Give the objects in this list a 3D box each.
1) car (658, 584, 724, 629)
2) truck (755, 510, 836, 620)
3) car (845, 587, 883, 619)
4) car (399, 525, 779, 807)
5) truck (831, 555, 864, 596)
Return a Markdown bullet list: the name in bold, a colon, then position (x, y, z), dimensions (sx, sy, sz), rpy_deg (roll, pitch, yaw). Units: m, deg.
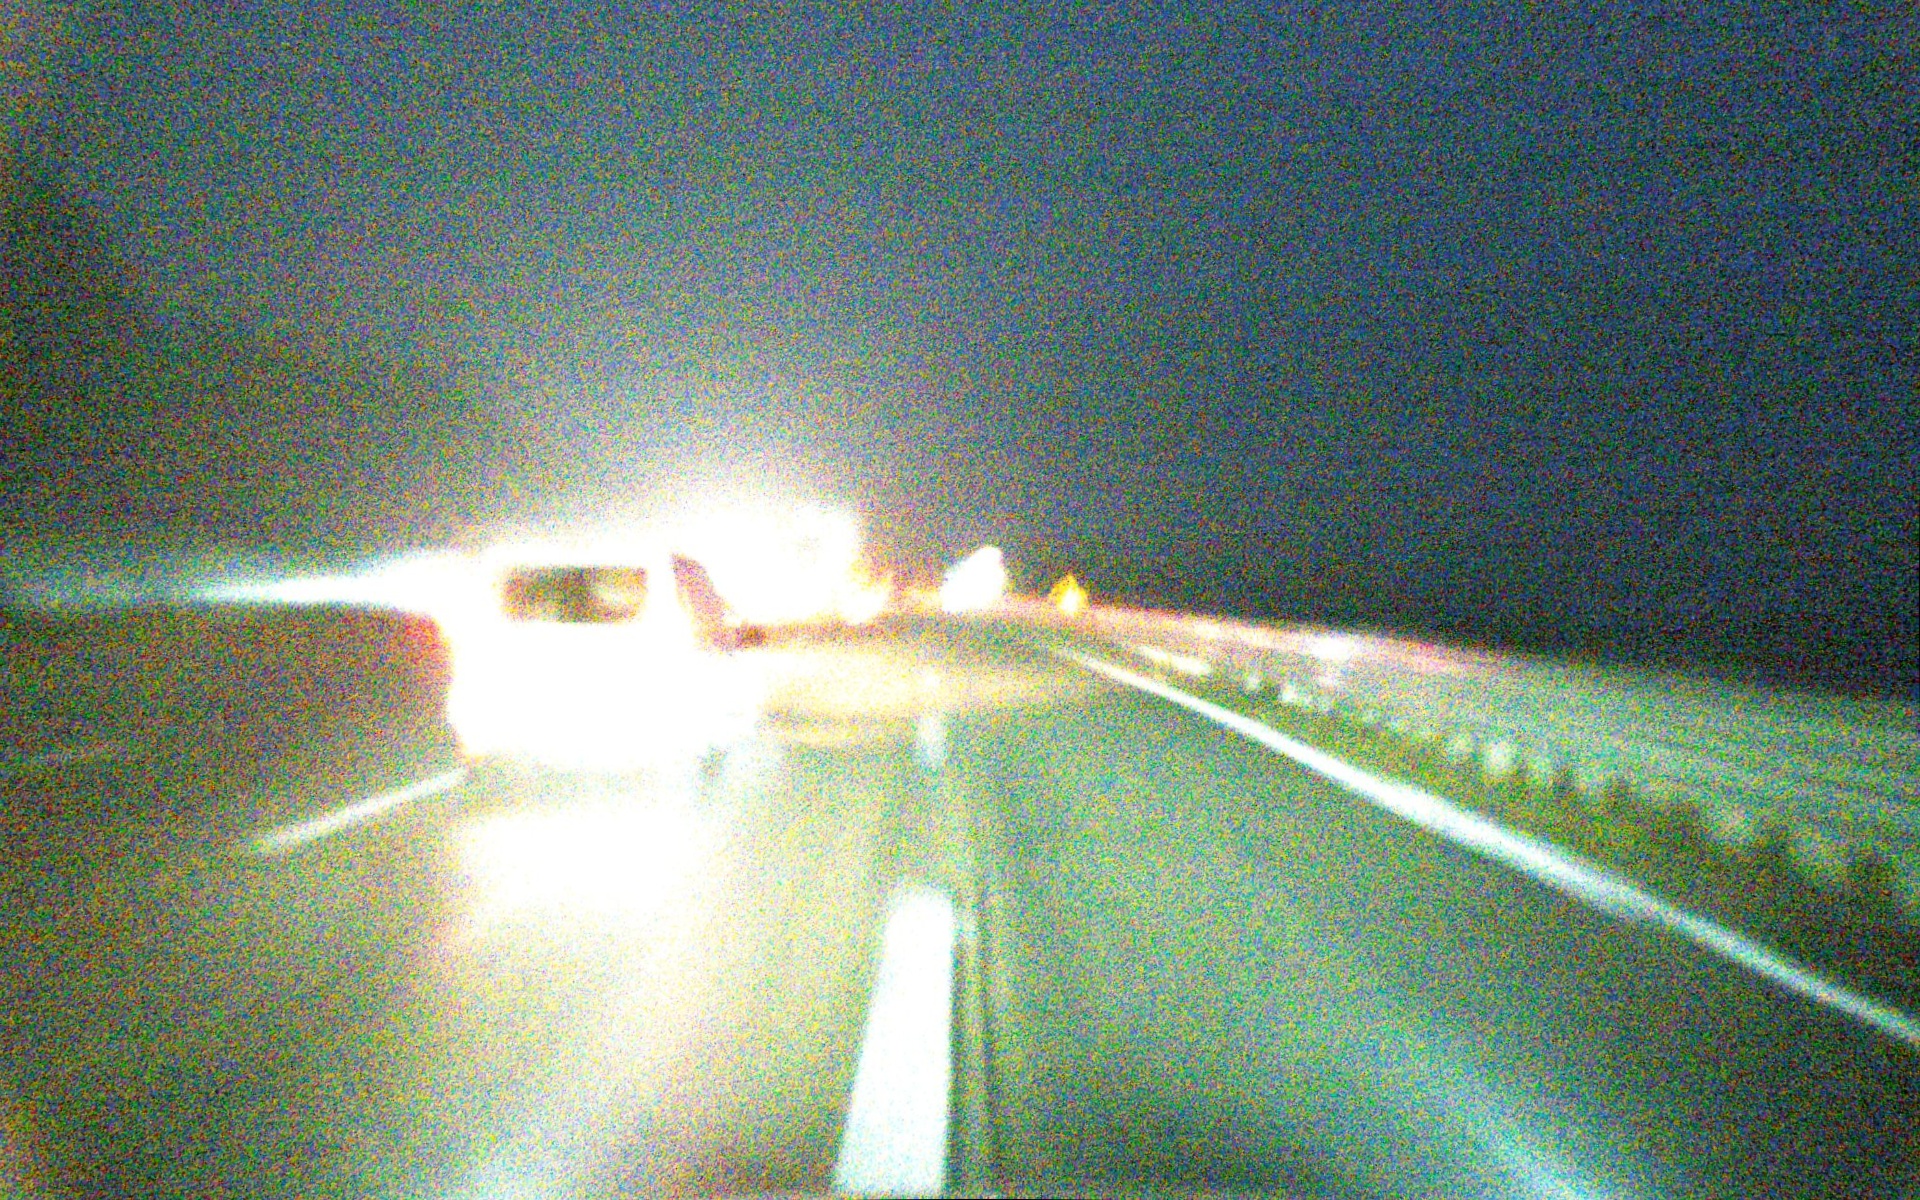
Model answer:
- **car**: position (-10.832, 0.256, 66.794), dimensions (1.953, 1.736, 4.195), rpy_deg (1, 0, 0)
- **truck**: position (-9.182, -1.824, 92.947), dimensions (4.086, 5.641, 13.060), rpy_deg (1, 0, -5)
- **car**: position (-5.526, 0.154, 94.774), dimensions (1.955, 1.736, 4.190), rpy_deg (1, 0, -6)
- **car**: position (-2.743, 0.377, 13.526), dimensions (1.913, 1.823, 5.125), rpy_deg (1, 1, 0)
- **truck**: position (-14.622, -3.086, 214.144), dimensions (3.750, 5.001, 11.593), rpy_deg (2, 0, -5)
